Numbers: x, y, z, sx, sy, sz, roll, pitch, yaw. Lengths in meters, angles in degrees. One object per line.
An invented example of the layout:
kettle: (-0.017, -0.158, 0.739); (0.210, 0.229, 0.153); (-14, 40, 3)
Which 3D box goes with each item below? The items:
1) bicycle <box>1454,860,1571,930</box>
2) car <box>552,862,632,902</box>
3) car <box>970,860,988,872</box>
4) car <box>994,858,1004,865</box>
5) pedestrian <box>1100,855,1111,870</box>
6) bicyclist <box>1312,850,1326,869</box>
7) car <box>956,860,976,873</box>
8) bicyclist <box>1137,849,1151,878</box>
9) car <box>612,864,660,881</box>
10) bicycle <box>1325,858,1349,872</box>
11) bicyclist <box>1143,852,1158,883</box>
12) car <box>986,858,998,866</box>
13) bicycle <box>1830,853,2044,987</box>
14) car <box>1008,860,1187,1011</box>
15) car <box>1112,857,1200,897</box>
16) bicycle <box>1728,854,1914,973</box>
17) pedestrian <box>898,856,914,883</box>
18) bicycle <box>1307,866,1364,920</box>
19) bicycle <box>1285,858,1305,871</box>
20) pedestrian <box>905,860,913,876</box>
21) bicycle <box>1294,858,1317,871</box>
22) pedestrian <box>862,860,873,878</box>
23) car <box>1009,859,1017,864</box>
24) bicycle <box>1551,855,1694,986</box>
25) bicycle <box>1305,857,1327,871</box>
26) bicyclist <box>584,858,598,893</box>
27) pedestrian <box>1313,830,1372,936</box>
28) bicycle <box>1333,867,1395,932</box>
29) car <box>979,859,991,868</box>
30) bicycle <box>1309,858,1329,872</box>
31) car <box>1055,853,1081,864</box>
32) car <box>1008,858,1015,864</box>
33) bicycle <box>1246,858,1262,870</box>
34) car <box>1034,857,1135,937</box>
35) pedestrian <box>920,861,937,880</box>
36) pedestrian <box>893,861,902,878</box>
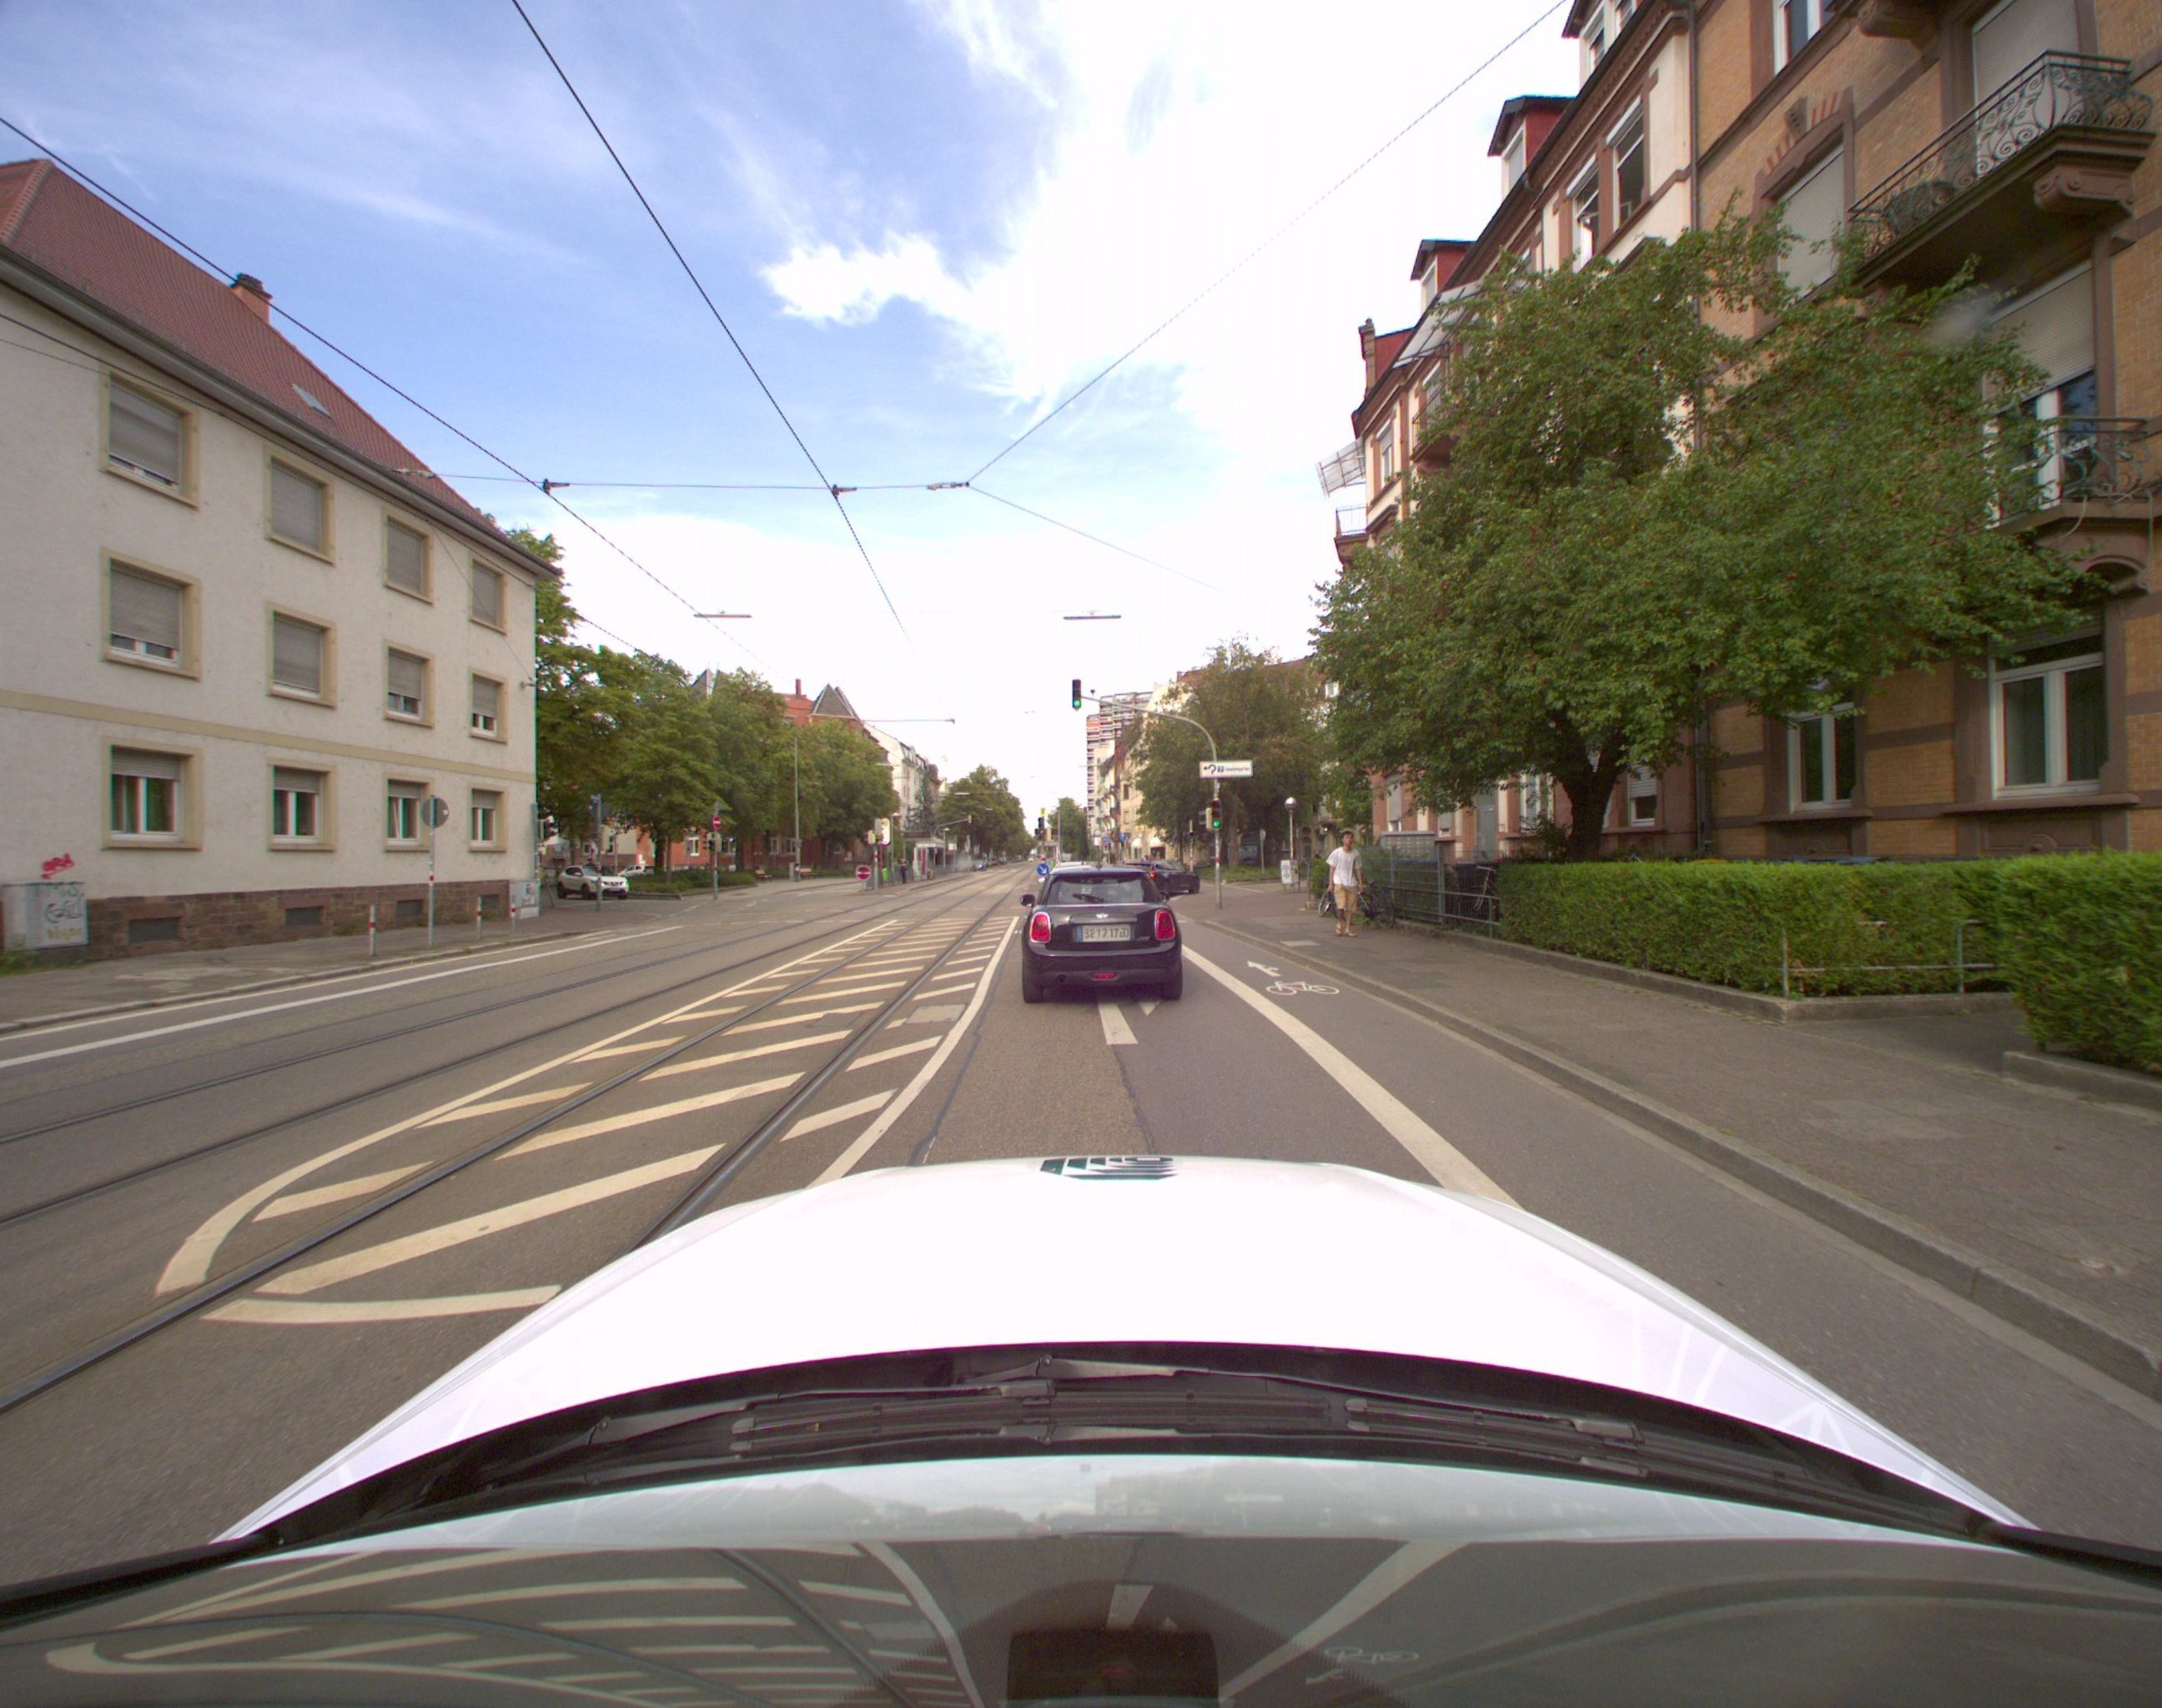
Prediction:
bicycle: (6.644, 0.622, 12.565); (1.542, 1.009, 0.509); (-1, 0, -4)
car: (-22.972, 1.326, 38.219); (4.105, 1.721, 1.852); (-4, -3, 37)
car: (-12.666, 1.501, 101.557); (1.746, 1.441, 3.999); (1, 0, 0)
car: (-18.983, 1.796, 188.830); (1.988, 1.552, 3.997); (-1, 0, -2)
pedestrian: (2.744, 0.966, 92.038); (0.723, 1.674, 0.840); (-4, 0, 44)
bicyclist: (18.620, 0.437, 63.702); (0.616, 1.473, 0.911); (-1, 0, -14)
car: (-13.053, 1.430, 92.397); (1.746, 1.441, 3.999); (1, 0, 0)
bicyclist: (3.475, 0.517, 44.784); (0.682, 1.564, 0.998); (-1, 0, 0)
car: (-42.141, 1.733, 77.140); (3.953, 1.478, 1.825); (-1, 0, 20)
bicycle: (21.638, 0.897, 68.902); (1.885, 1.128, 0.531); (-1, 0, -6)
bicyclist: (3.540, 0.672, 41.575); (0.593, 1.550, 1.013); (-1, 0, -2)
car: (-18.122, 1.597, 165.896); (1.988, 1.552, 3.997); (-1, 0, -2)
bicycle: (8.038, 0.596, 7.669); (1.542, 1.181, 0.517); (-1, 0, -4)
car: (0.217, 0.819, 10.030); (1.745, 1.441, 4.001); (-1, 0, 1)
car: (3.042, 0.863, 32.152); (1.735, 1.441, 4.507); (-1, 0, 29)
bicycle: (7.787, 0.605, 8.593); (1.542, 1.181, 0.517); (-1, 0, -4)
pedestrian: (-10.565, 0.931, 49.072); (0.851, 1.621, 0.841); (-1, -1, -8)
bicycle: (5.576, 0.828, 17.918); (0.669, 1.106, 1.671); (-1, 0, -2)
bicycle: (19.370, 0.947, 73.717); (1.901, 1.128, 0.527); (-2, 0, -33)
pedestrian: (-18.685, 1.562, 88.364); (0.692, 1.719, 0.758); (-1, 0, -1)
bicycle: (19.965, 0.895, 72.448); (1.888, 1.128, 0.596); (-1, 0, -11)
pedestrian: (-20.329, 1.460, 77.511); (0.832, 1.703, 0.731); (-1, 0, -8)
car: (-20.975, 2.211, 251.675); (1.988, 1.552, 3.997); (-1, 0, -2)
bicycle: (5.837, 0.663, 8.880); (0.514, 1.282, 1.550); (-1, 0, 0)
bicycle: (20.598, 0.883, 71.413); (1.893, 1.128, 0.579); (-1, 0, -20)
bicyclist: (-25.681, 1.111, 42.685); (0.614, 1.775, 0.902); (-1, 0, -30)
pedestrian: (4.506, 0.484, 14.095); (0.727, 1.754, 0.950); (-1, 0, 2)
bicycle: (5.245, 0.817, 15.180); (0.507, 1.088, 1.549); (-4, 0, -2)
car: (-16.410, 1.602, 139.249); (1.763, 1.395, 3.996); (-1, 0, -3)
bicycle: (18.622, 0.865, 63.766); (0.615, 1.076, 1.812); (-1, 0, -14)
car: (-2.757, 0.934, 172.188); (5.067, 2.272, 2.368); (-1, 0, -43)
car: (-20.606, 2.117, 241.223); (1.988, 1.552, 3.997); (-1, 0, -2)
bicycle: (16.430, 0.959, 77.281); (0.659, 1.128, 1.905); (-1, 0, 40)
car: (0.125, 0.831, 17.613); (1.920, 1.510, 4.001); (-1, 0, 2)
pedestrian: (-10.673, 1.122, 57.042); (1.057, 1.294, 0.983); (-1, 0, -8)
pedestrian: (-18.491, 1.517, 82.113); (0.832, 1.703, 0.731); (-1, 0, -8)
